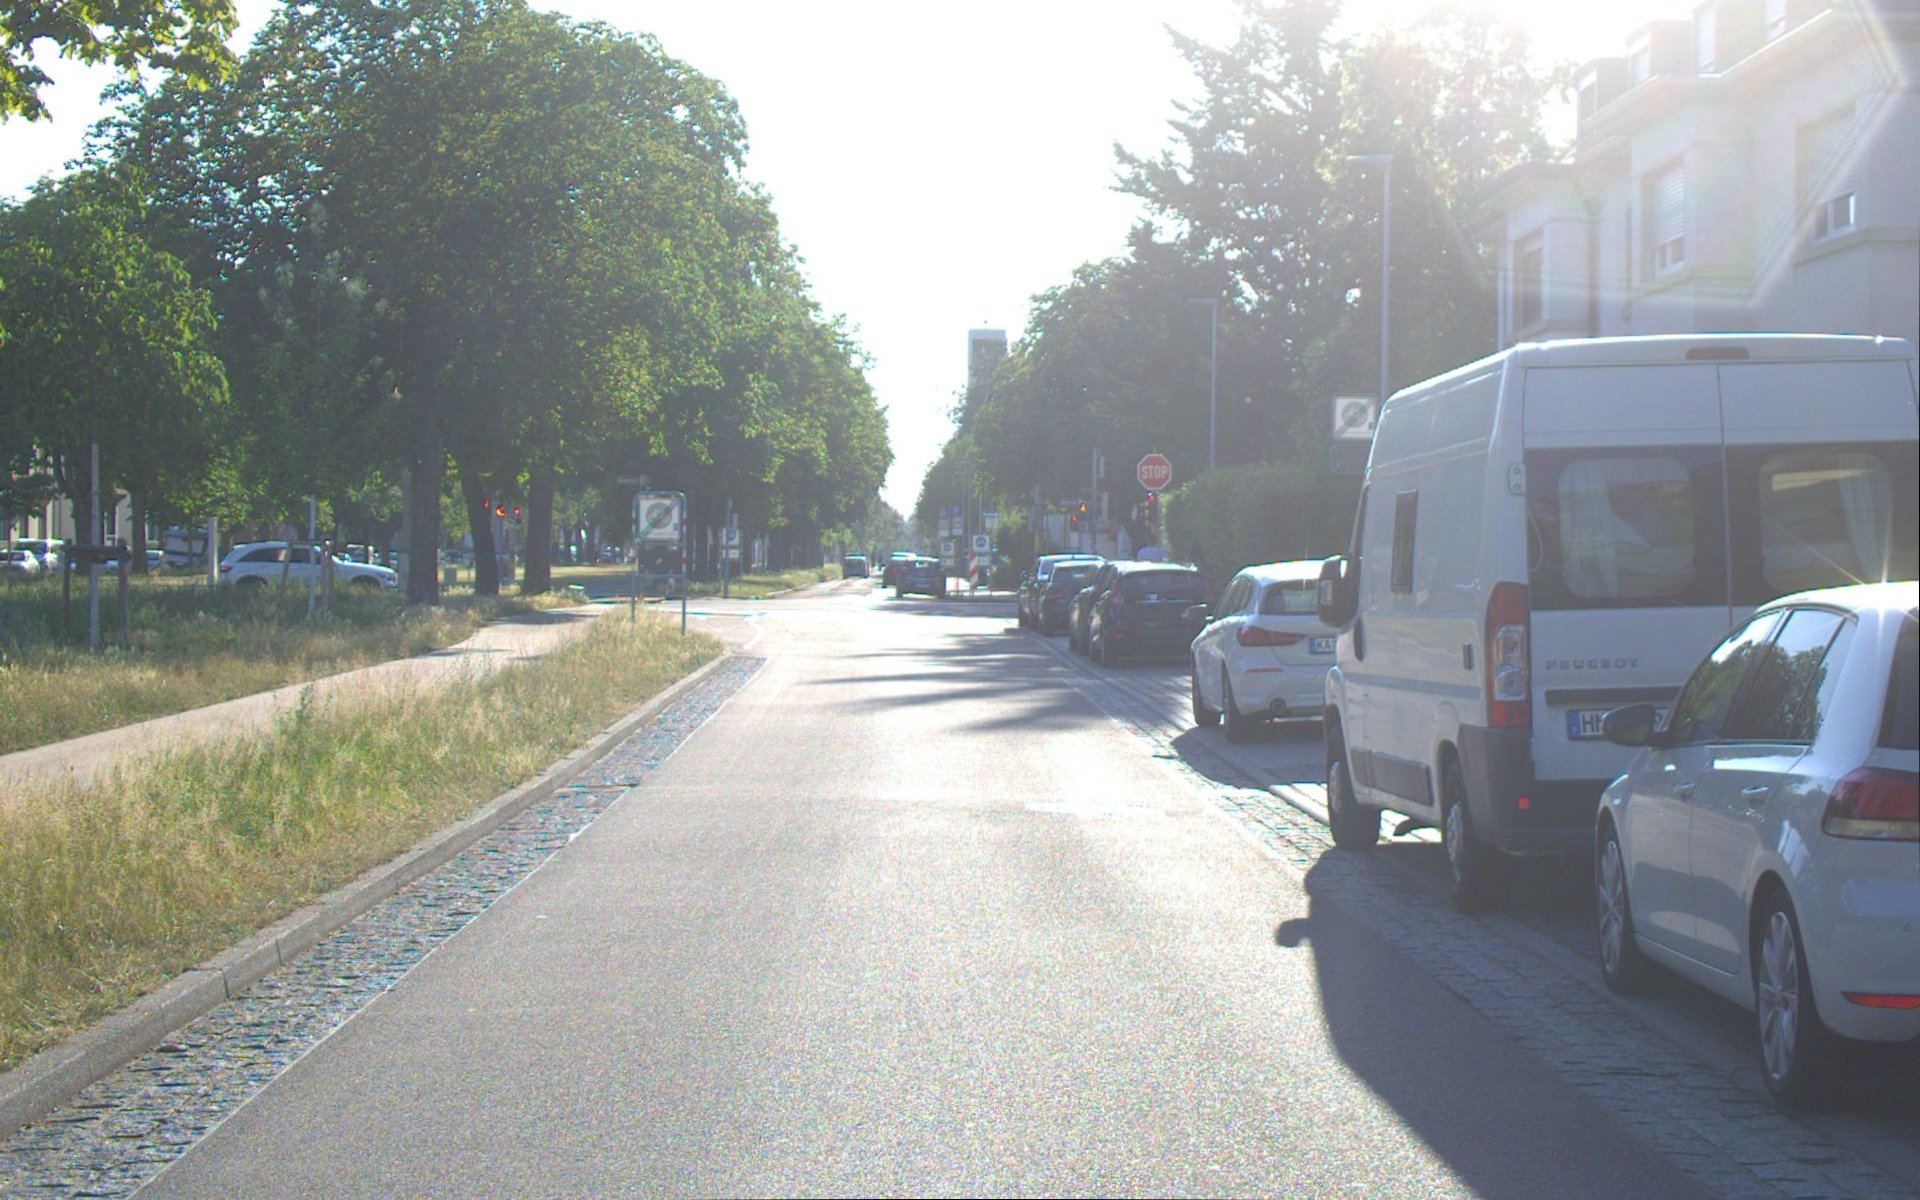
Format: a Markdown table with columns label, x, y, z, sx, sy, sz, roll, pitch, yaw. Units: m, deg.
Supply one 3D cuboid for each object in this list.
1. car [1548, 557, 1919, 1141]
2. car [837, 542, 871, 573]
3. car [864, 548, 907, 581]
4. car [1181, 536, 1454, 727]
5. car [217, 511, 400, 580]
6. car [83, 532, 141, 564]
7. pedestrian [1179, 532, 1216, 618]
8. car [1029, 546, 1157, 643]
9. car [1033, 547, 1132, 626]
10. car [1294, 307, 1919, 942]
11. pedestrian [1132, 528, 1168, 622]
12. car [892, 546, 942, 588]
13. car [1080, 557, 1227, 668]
| label | x | y | z | sx | sy | sz | roll | pitch | yaw |
| --- | --- | --- | --- | --- | --- | --- | --- | --- | --- |
| car | 3.026 | 0.632 | 10.850 | 1.622 | 1.477 | 4.108 | 2 | 1 | 0 |
| car | -7.096 | -2.860 | 231.215 | 2.134 | 2.007 | 3.902 | 2 | 1 | 0 |
| car | -3.377 | -1.624 | 156.377 | 1.845 | 1.389 | 3.829 | 2 | 1 | 0 |
| car | 3.017 | 0.218 | 29.797 | 1.782 | 1.502 | 4.234 | 1 | 1 | -2 |
| car | -16.886 | -1.408 | 89.080 | 4.409 | 1.671 | 1.898 | 1 | 1 | -18 |
| car | -39.649 | -2.420 | 160.833 | 1.738 | 1.422 | 3.792 | 2 | 1 | 0 |
| pedestrian | 4.729 | -0.501 | 68.446 | 0.669 | 1.702 | 0.622 | 2 | 1 | 7 |
| car | 2.098 | -0.115 | 55.233 | 1.746 | 1.469 | 4.256 | 1 | 1 | -2 |
| car | 2.292 | -0.275 | 65.057 | 1.641 | 1.423 | 3.937 | -1 | 1 | -1 |
| car | 3.093 | 0.058 | 16.559 | 2.129 | 2.509 | 5.509 | 1 | 1 | -3 |
| pedestrian | 3.786 | -0.500 | 68.577 | 0.670 | 1.859 | 0.882 | 2 | 1 | 3 |
| car | -1.514 | -1.189 | 122.247 | 1.641 | 1.446 | 3.307 | 2 | 1 | 1 |
| car | 2.705 | 0.145 | 48.843 | 1.718 | 1.466 | 3.984 | -2 | 1 | -2 |
